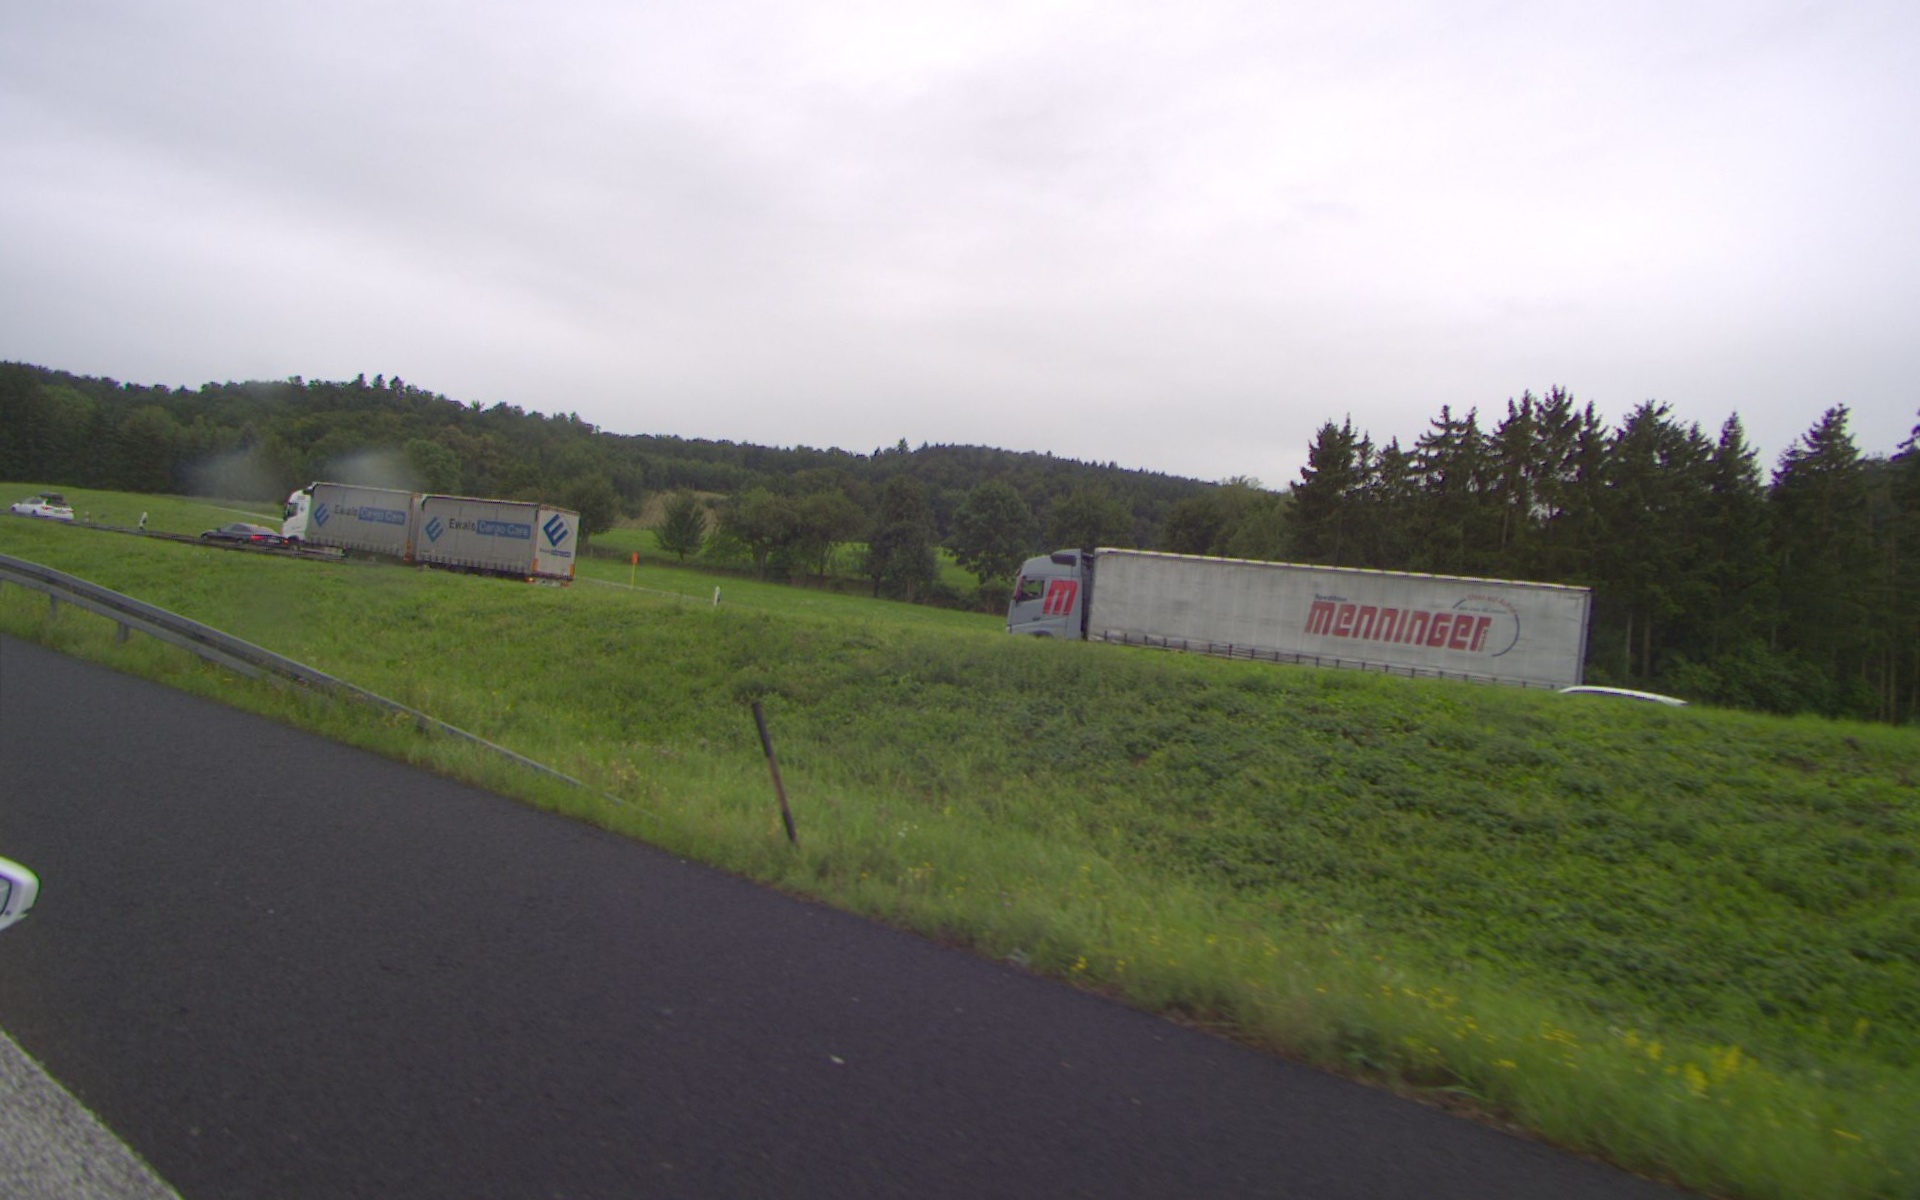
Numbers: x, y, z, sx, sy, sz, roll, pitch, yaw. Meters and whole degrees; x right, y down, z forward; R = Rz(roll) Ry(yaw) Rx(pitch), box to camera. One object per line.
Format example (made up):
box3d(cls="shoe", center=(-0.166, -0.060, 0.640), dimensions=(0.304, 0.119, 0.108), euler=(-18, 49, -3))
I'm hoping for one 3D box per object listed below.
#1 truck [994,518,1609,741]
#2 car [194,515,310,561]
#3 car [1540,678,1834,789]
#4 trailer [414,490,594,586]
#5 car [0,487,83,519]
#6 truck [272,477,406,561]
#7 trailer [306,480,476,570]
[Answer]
box3d(cls="truck", center=(9.614, 0.607, 30.925), dimensions=(16.582, 4.595, 3.831), euler=(7, -1, 25))
box3d(cls="car", center=(-32.521, -2.855, 46.184), dimensions=(5.225, 1.393, 1.992), euler=(7, -1, 26))
box3d(cls="car", center=(16.244, 2.919, 22.874), dimensions=(4.988, 1.636, 1.999), euler=(7, -1, 25))
box3d(cls="trailer", center=(-21.858, -2.983, 48.207), dimensions=(7.939, 3.567, 3.089), euler=(7, -2, 25))
box3d(cls="car", center=(-57.192, -6.021, 62.559), dimensions=(4.987, 1.393, 1.992), euler=(7, -1, 23))
box3d(cls="truck", center=(-32.872, -4.298, 53.260), dimensions=(5.821, 3.567, 2.948), euler=(7, -2, 25))
box3d(cls="trailer", center=(-29.206, -3.860, 51.582), dimensions=(8.268, 3.567, 2.948), euler=(7, -2, 25))
